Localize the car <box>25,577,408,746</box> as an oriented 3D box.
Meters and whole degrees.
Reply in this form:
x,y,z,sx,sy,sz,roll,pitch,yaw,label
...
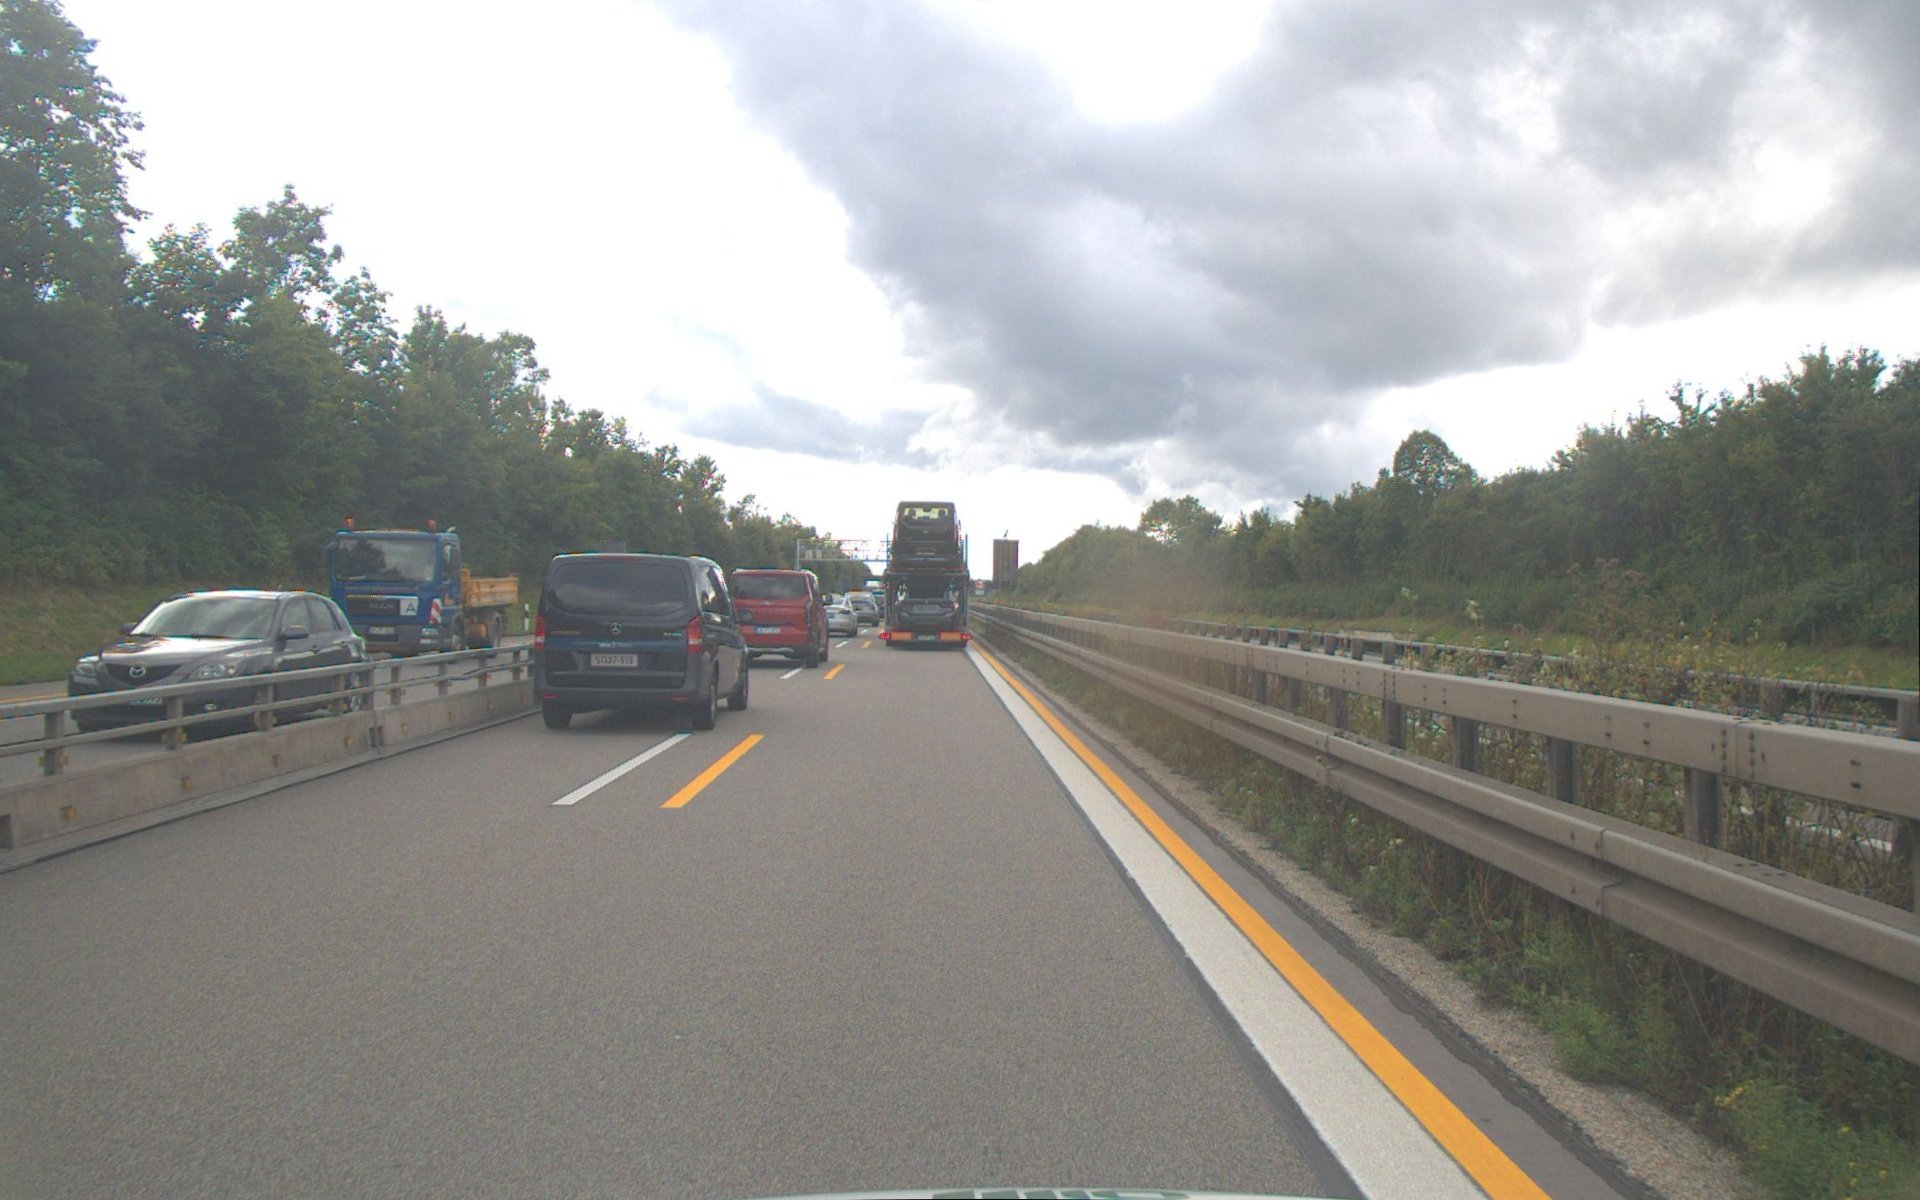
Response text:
x,y,z,sx,sy,sz,roll,pitch,yaw,label
-7.689,0.564,17.738,1.953,1.533,4.831,1,0,-1,car

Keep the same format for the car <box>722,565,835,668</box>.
x,y,z,sx,sy,sz,roll,pitch,yaw,label
-3.787,0.325,35.214,1.990,2.049,4.577,0,0,-1,car

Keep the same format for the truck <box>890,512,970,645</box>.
x,y,z,sx,sy,sz,roll,pitch,yaw,label
-0.990,-0.676,55.071,2.464,4.177,5.684,1,0,-1,truck

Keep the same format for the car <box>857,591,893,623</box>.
x,y,z,sx,sy,sz,roll,pitch,yaw,label
-4.878,0.404,95.086,1.990,1.788,4.576,0,0,-2,car

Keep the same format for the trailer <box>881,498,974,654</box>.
x,y,z,sx,sy,sz,roll,pitch,yaw,label
-0.938,-0.662,50.330,2.464,4.177,11.111,1,0,-1,trailer

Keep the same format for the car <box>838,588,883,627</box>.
x,y,z,sx,sy,sz,roll,pitch,yaw,label
-4.767,0.338,79.647,1.990,1.788,4.576,0,0,-2,car

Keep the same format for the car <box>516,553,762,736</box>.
x,y,z,sx,sy,sz,roll,pitch,yaw,label
-3.626,0.456,19.780,1.953,1.875,5.608,0,0,-1,car

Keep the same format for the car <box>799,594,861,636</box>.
x,y,z,sx,sy,sz,roll,pitch,yaw,label
-4.660,0.522,59.873,1.990,1.456,4.576,0,0,-2,car

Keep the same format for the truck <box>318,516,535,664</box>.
x,y,z,sx,sy,sz,roll,pitch,yaw,label
-10.939,-0.196,34.607,2.439,2.765,6.666,1,0,-1,truck
